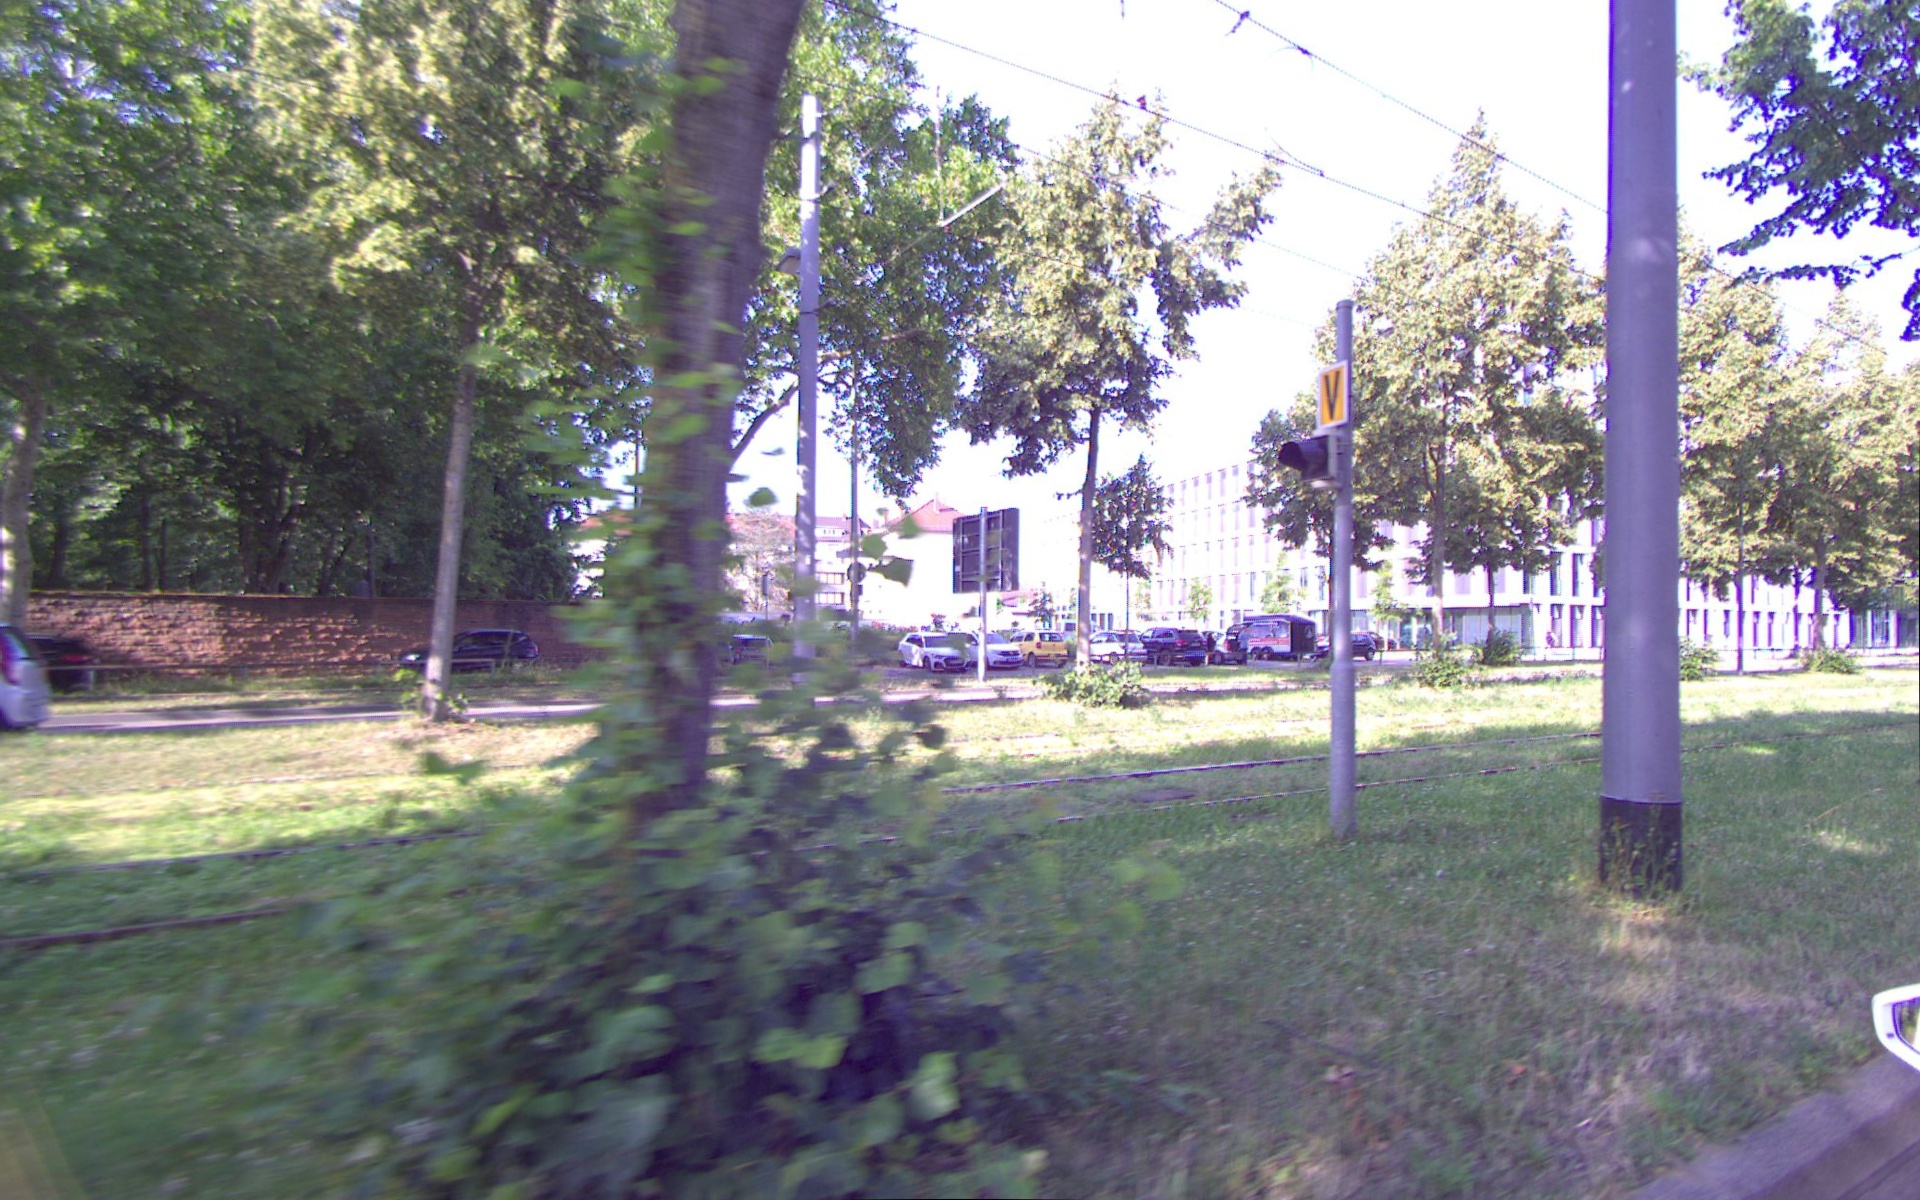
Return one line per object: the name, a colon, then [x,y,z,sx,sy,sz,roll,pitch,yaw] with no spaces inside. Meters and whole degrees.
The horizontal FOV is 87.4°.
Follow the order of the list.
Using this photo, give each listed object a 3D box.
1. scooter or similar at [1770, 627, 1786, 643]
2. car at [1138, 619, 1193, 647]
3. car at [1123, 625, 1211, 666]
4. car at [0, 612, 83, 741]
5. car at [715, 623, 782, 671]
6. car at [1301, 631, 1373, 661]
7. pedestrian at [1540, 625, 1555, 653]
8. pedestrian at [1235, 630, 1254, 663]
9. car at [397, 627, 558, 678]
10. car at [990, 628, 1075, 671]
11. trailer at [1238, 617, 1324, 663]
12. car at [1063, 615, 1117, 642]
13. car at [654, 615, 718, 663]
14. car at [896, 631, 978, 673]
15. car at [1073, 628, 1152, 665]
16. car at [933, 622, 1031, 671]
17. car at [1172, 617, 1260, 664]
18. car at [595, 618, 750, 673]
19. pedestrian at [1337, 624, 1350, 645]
scooter or similar: [66.593,2.841,81.786,1.278,1.242,0.335,2,0,-18]
car: [20.287,3.275,99.152,4.945,2.566,1.806,2,0,-14]
car: [9.409,2.051,45.852,1.737,1.665,3.974,2,0,-29]
car: [-12.405,0.832,11.217,3.654,1.411,1.575,2,0,-31]
car: [-7.763,1.679,36.642,1.719,1.506,3.849,2,0,-22]
car: [19.806,2.408,52.763,3.723,1.412,1.669,2,0,-34]
pedestrian: [37.683,2.478,64.433,0.683,1.751,0.564,2,0,-31]
pedestrian: [13.009,2.115,45.930,0.562,1.500,0.519,2,0,-31]
car: [-15.255,1.637,31.843,4.321,1.461,1.773,2,0,-37]
car: [3.051,2.085,43.052,1.833,1.581,3.971,2,0,-28]
trailer: [16.248,1.988,51.073,1.733,2.081,4.354,2,0,-23]
car: [11.588,2.544,89.663,4.424,2.187,1.847,2,0,-19]
car: [-9.944,1.372,36.287,1.719,1.506,3.849,2,0,-22]
car: [-0.949,2.015,39.503,1.787,1.447,3.632,2,0,-28]
car: [6.817,2.079,45.234,1.705,1.444,3.551,2,0,-29]
car: [0.831,1.880,41.710,1.862,1.758,5.040,2,0,-28]
car: [12.058,1.886,47.483,1.737,1.973,3.974,2,0,-29]
car: [-8.288,1.298,29.062,3.993,1.454,1.672,2,0,-33]
pedestrian: [30.084,2.707,78.832,0.622,1.652,0.591,2,4,-6]
